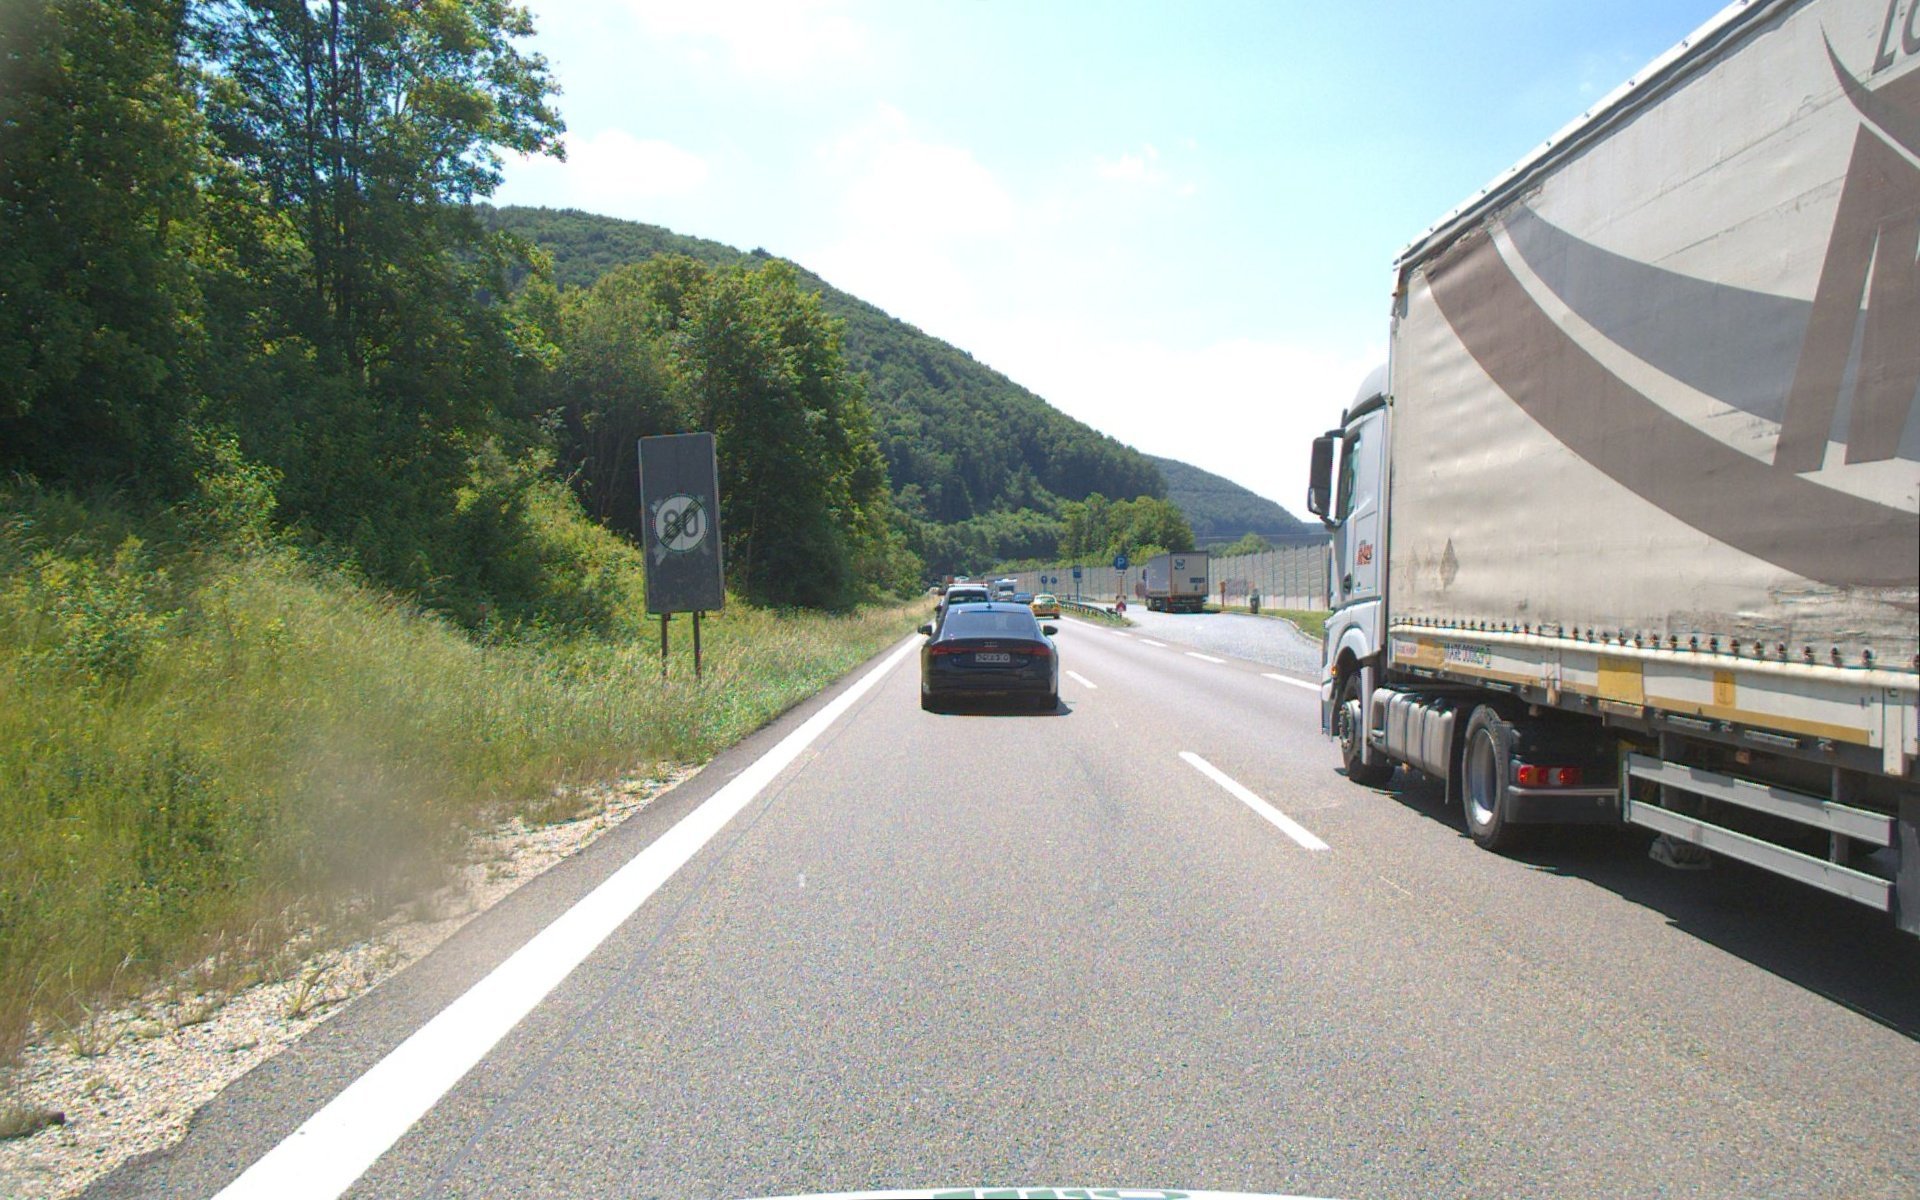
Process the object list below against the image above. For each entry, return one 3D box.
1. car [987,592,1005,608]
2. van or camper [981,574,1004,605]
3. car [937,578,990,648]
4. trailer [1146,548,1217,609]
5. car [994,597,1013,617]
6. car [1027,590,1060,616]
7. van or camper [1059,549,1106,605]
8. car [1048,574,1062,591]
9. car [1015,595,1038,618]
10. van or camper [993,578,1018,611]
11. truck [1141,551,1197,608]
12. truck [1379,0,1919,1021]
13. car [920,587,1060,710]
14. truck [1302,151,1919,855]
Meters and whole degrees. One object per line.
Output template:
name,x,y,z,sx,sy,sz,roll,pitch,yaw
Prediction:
car,4.335,-0.011,198.426,1.953,1.825,3.999,2,-1,0
van or camper,4.266,-1.372,218.424,2.738,3.975,6.164,2,-1,-2
car,0.097,0.389,50.805,1.490,2.002,3.514,3,0,0
trailer,15.037,-1.420,113.314,3.342,3.968,11.150,0,0,0
car,3.625,0.570,137.740,1.498,1.552,3.596,2,-1,0
car,5.126,0.186,102.134,1.840,1.525,4.000,0,0,0
van or camper,9.034,-1.688,122.798,2.738,3.909,6.164,2,-1,-2
car,11.552,-2.094,202.220,1.544,2.049,3.428,0,0,0
car,4.739,0.479,118.156,1.498,1.552,3.596,2,-1,0
van or camper,4.685,-0.551,169.715,2.379,3.210,5.203,2,-1,0
truck,15.047,-1.462,119.358,3.342,3.968,5.387,0,0,0
truck,4.611,-0.620,5.875,2.670,4.139,13.739,1,-1,0
car,0.384,0.619,22.997,1.775,1.541,3.514,-1,0,0
truck,4.585,-0.550,12.705,2.663,4.139,5.753,1,-1,0
